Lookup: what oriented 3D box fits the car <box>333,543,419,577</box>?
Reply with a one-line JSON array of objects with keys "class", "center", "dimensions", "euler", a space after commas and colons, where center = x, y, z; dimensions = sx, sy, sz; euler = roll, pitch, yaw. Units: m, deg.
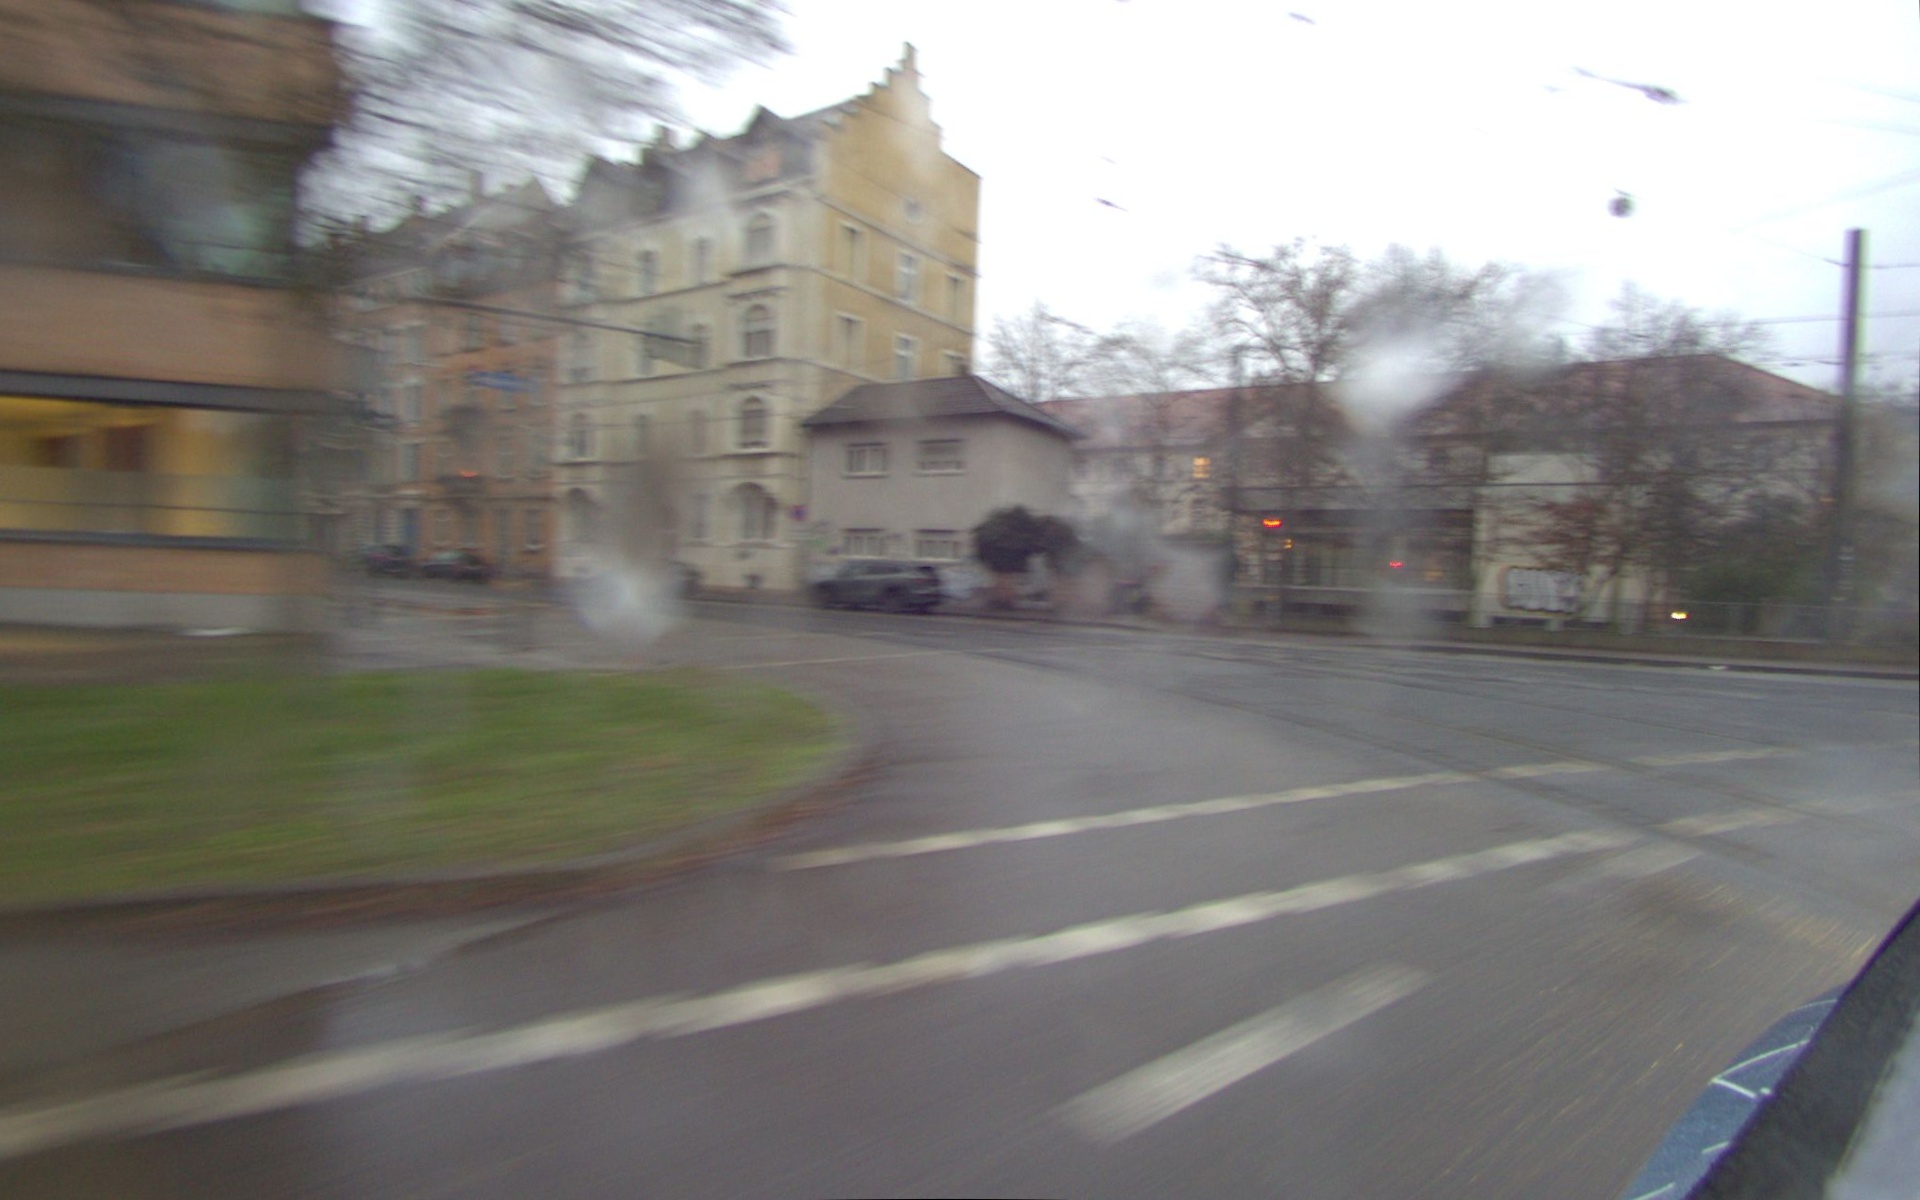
[{"class": "car", "center": [-28.744, -1.976, 49.762], "dimensions": [4.484, 1.458, 1.975], "euler": [4, 2, 35]}]

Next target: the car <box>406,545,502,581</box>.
[{"class": "car", "center": [-22.992, -1.685, 45.921], "dimensions": [4.484, 1.458, 1.975], "euler": [4, 2, 35]}]

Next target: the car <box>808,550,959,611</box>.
[{"class": "car", "center": [-2.459, -0.664, 32.175], "dimensions": [4.477, 1.690, 1.978], "euler": [4, 2, 31]}]

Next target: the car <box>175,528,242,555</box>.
[{"class": "car", "center": [-45.601, -3.541, 61.368], "dimensions": [4.484, 1.458, 1.975], "euler": [4, 2, 35]}]

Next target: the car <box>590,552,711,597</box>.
[{"class": "car", "center": [-11.588, -0.950, 37.765], "dimensions": [4.484, 1.458, 1.975], "euler": [4, 2, 35]}]
